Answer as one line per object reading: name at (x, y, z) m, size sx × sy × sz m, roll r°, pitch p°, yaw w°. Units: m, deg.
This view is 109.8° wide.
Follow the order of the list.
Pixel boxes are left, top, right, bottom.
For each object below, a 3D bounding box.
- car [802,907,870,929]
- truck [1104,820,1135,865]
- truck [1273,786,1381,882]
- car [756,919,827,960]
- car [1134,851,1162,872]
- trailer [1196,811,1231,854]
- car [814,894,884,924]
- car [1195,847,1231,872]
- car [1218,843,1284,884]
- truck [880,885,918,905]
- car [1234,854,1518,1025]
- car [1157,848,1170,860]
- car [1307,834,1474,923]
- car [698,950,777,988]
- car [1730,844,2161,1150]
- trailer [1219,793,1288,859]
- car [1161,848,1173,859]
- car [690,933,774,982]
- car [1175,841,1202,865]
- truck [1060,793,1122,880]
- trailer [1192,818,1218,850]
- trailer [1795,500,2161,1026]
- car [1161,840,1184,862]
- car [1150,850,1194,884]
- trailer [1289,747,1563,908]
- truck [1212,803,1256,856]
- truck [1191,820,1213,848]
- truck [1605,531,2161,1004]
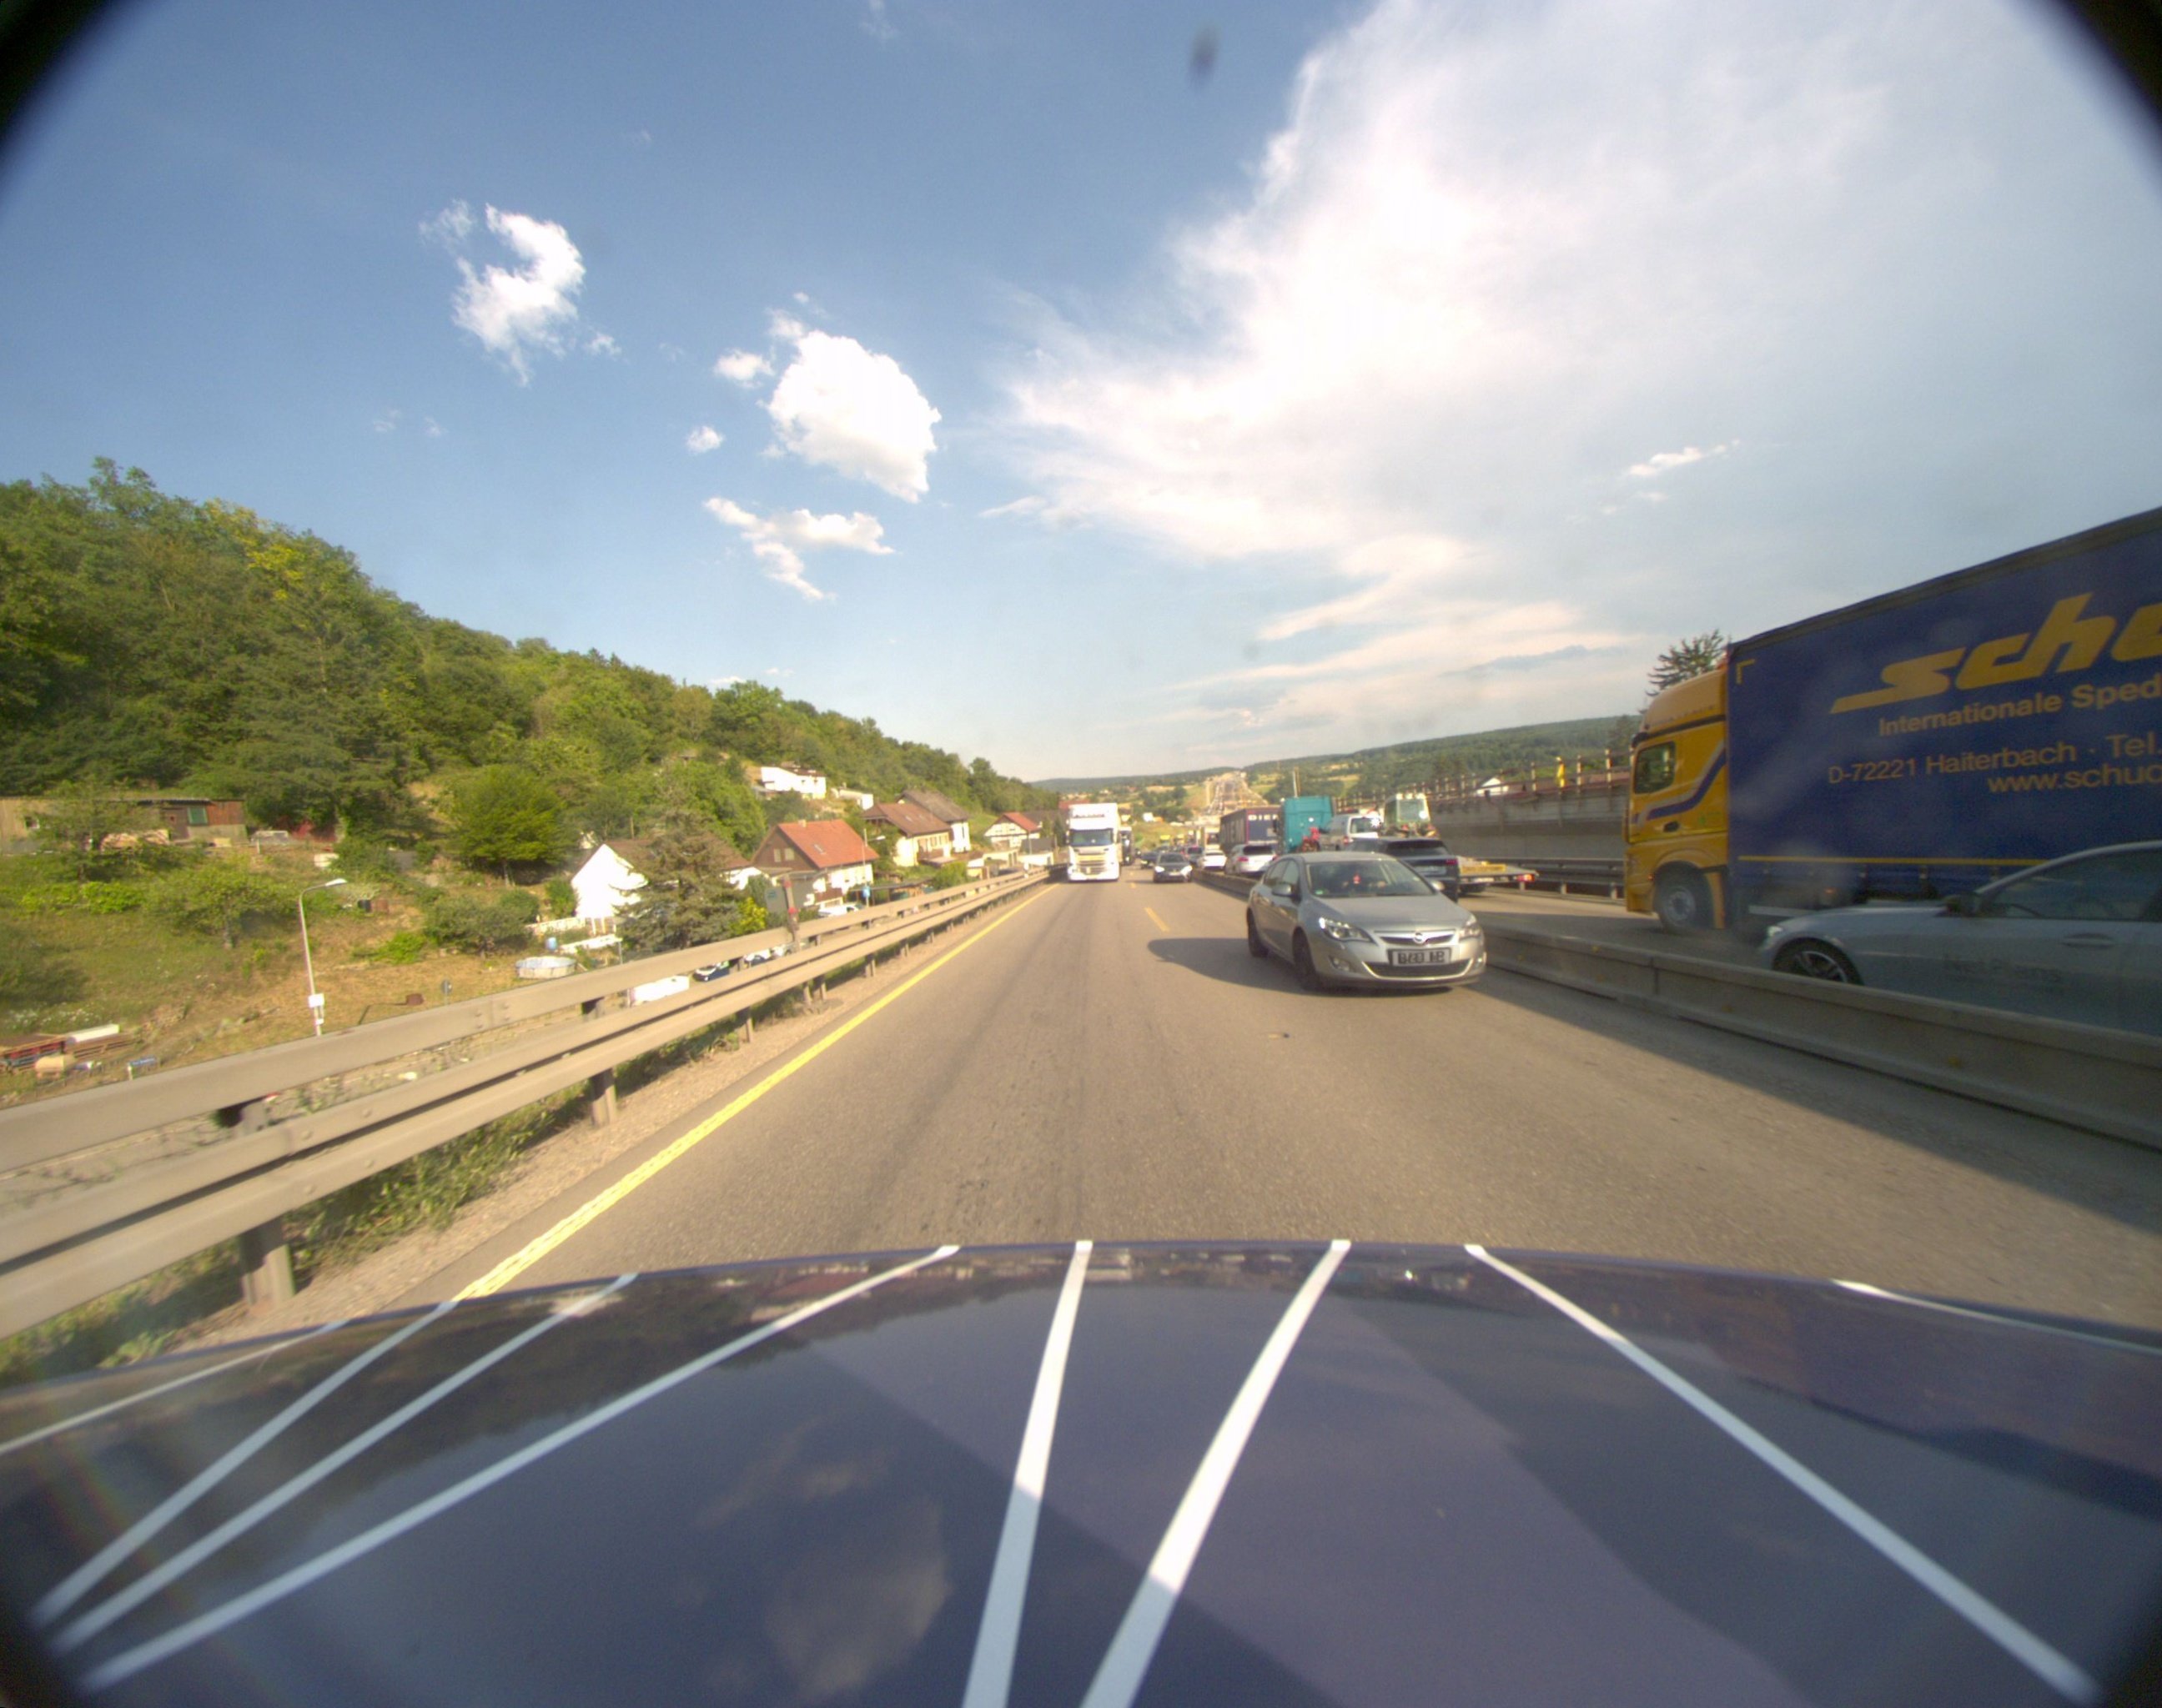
car at (-20.477, 5.343, 63.571) m, size 5.099 × 1.548 × 1.716 m, roll -2°, pitch 3°, yaw 11°
truck at (4.289, -1.188, 82.742) m, size 2.787 × 4.505 × 7.192 m, roll -3°, pitch 0°, yaw 5°
truck at (10.710, -0.855, 33.867) m, size 2.755 × 3.784 × 7.111 m, roll 0°, pitch 1°, yaw 2°
car at (-19.499, 5.718, 51.432) m, size 1.998 × 1.907 × 4.866 m, roll -1°, pitch 3°, yaw 14°
car at (5.514, 0.622, 62.899) m, size 1.998 × 1.565 × 3.999 m, roll -1°, pitch 1°, yaw 0°
trailer at (14.376, -2.306, 82.787) m, size 2.917 × 4.440 × 7.153 m, roll -2°, pitch 1°, yaw 5°
car at (-20.577, 4.867, 67.366) m, size 5.476 × 2.251 × 2.001 m, roll -3°, pitch 3°, yaw 11°
car at (8.746, 0.311, 50.623) m, size 1.807 × 1.513 × 4.817 m, roll 0°, pitch 1°, yaw 4°
car at (7.580, 0.344, 34.271) m, size 1.964 × 1.635 × 4.847 m, roll -1°, pitch 1°, yaw 1°
truck at (-18.572, 4.159, 77.334) m, size 2.002 × 1.729 × 3.990 m, roll -11°, pitch 5°, yaw -38°
car at (3.135, 0.793, 9.071) m, size 1.810 × 1.478 × 4.118 m, roll -2°, pitch 1°, yaw 1°
car at (12.301, 0.047, 113.708) m, size 1.770 × 1.542 × 4.479 m, roll -3°, pitch 2°, yaw 6°
car at (6.746, 0.429, 17.188) m, size 1.932 × 1.692 × 4.690 m, roll -1°, pitch 1°, yaw 1°
car at (-19.137, 6.398, 42.507) m, size 1.769 × 1.588 × 3.623 m, roll -6°, pitch -2°, yaw 27°
car at (6.389, 0.734, 4.111) m, size 1.793 × 1.489 × 4.723 m, roll -1°, pitch 1°, yaw 1°
trailer at (11.913, -1.844, 53.738) m, size 2.721 × 4.099 × 12.493 m, roll 0°, pitch 1°, yaw 3°
car at (14.120, -0.099, 125.030) m, size 1.778 × 1.448 × 4.815 m, roll -3°, pitch 2°, yaw 5°
car at (-20.904, 6.146, 45.823) m, size 1.865 × 1.975 × 5.054 m, roll -1°, pitch 3°, yaw 12°
car at (9.221, -0.122, 65.523) m, size 1.827 × 1.922 × 5.130 m, roll 1°, pitch 2°, yaw 3°
truck at (0.831, -0.995, 43.170) m, size 2.892 × 4.059 × 13.892 m, roll -1°, pitch 1°, yaw 3°
trailer at (17.677, -2.858, 109.146) m, size 2.781 × 4.179 × 13.835 m, roll -1°, pitch 1°, yaw 6°
trailer at (9.749, -0.610, 0.666) m, size 2.721 × 4.111 × 16.748 m, roll -1°, pitch 1°, yaw 1°
car at (8.934, -0.318, 74.573) m, size 1.837 × 1.952 × 4.899 m, roll -2°, pitch 2°, yaw 3°
car at (4.286, 0.573, 36.221) m, size 1.822 × 1.433 × 4.001 m, roll -3°, pitch 0°, yaw 4°
trailer at (10.369, -0.739, 26.075) m, size 2.755 × 3.794 × 16.046 m, roll 0°, pitch 1°, yaw 2°
truck at (12.365, -1.936, 61.625) m, size 2.755 × 4.091 × 5.030 m, roll 0°, pitch 1°, yaw 2°
truck at (18.338, -3.017, 115.513) m, size 2.770 × 4.179 × 6.116 m, roll -1°, pitch 2°, yaw 6°
truck at (9.898, -0.824, 9.543) m, size 2.708 × 4.117 × 5.793 m, roll -1°, pitch 2°, yaw 1°
